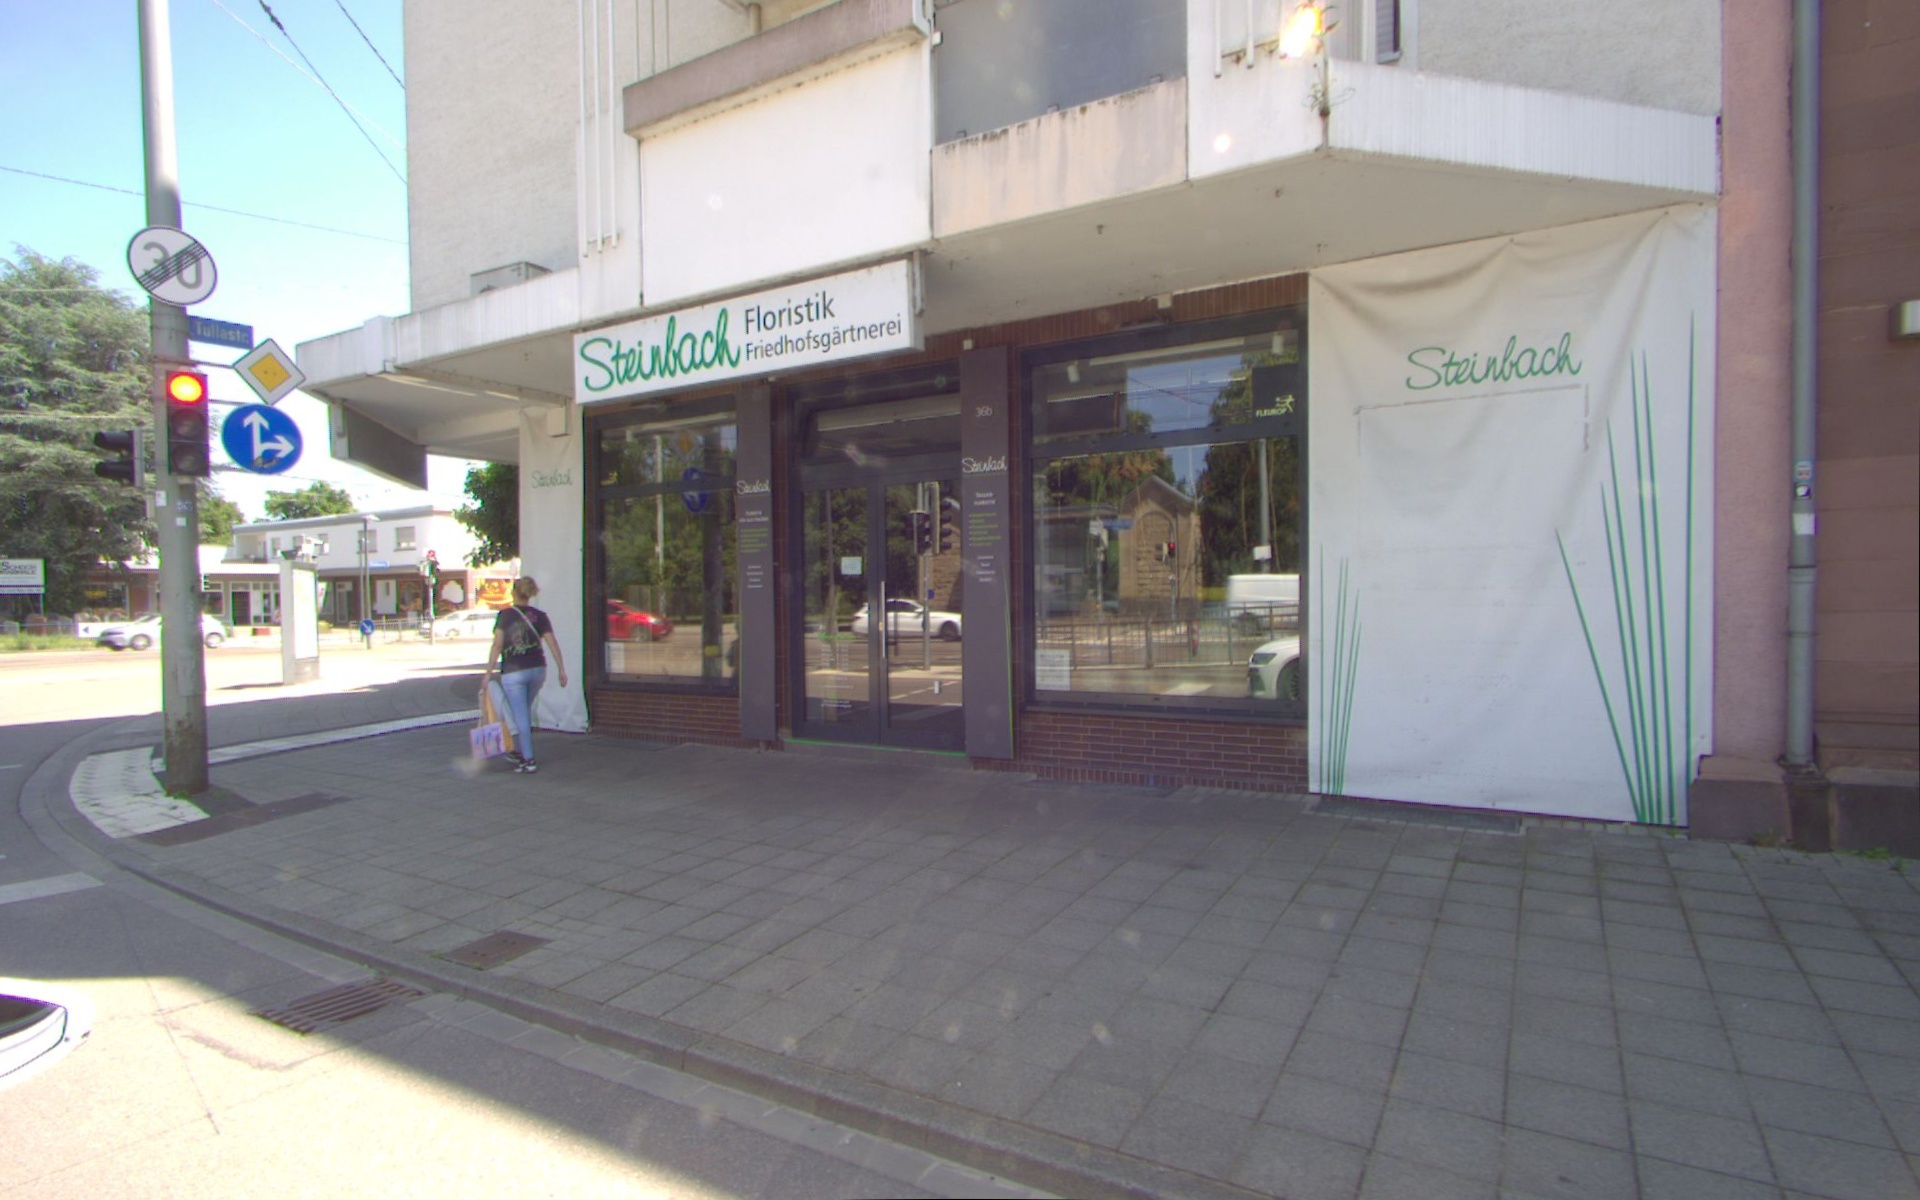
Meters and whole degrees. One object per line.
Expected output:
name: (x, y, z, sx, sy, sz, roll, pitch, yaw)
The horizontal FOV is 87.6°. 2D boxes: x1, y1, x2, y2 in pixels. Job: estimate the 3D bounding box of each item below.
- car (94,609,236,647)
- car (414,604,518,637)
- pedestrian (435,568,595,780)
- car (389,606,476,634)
car: (-31.265, 1.056, 39.501, 1.796, 1.381, 4.034, 0, 0, 28)
car: (-25.063, 1.013, 50.931, 1.798, 1.510, 4.473, 0, 1, 32)
pedestrian: (-3.674, 0.567, 8.289, 0.816, 1.606, 0.822, 0, 4, 38)
car: (-27.821, 1.041, 52.910, 1.618, 1.369, 3.823, 0, 0, 31)
